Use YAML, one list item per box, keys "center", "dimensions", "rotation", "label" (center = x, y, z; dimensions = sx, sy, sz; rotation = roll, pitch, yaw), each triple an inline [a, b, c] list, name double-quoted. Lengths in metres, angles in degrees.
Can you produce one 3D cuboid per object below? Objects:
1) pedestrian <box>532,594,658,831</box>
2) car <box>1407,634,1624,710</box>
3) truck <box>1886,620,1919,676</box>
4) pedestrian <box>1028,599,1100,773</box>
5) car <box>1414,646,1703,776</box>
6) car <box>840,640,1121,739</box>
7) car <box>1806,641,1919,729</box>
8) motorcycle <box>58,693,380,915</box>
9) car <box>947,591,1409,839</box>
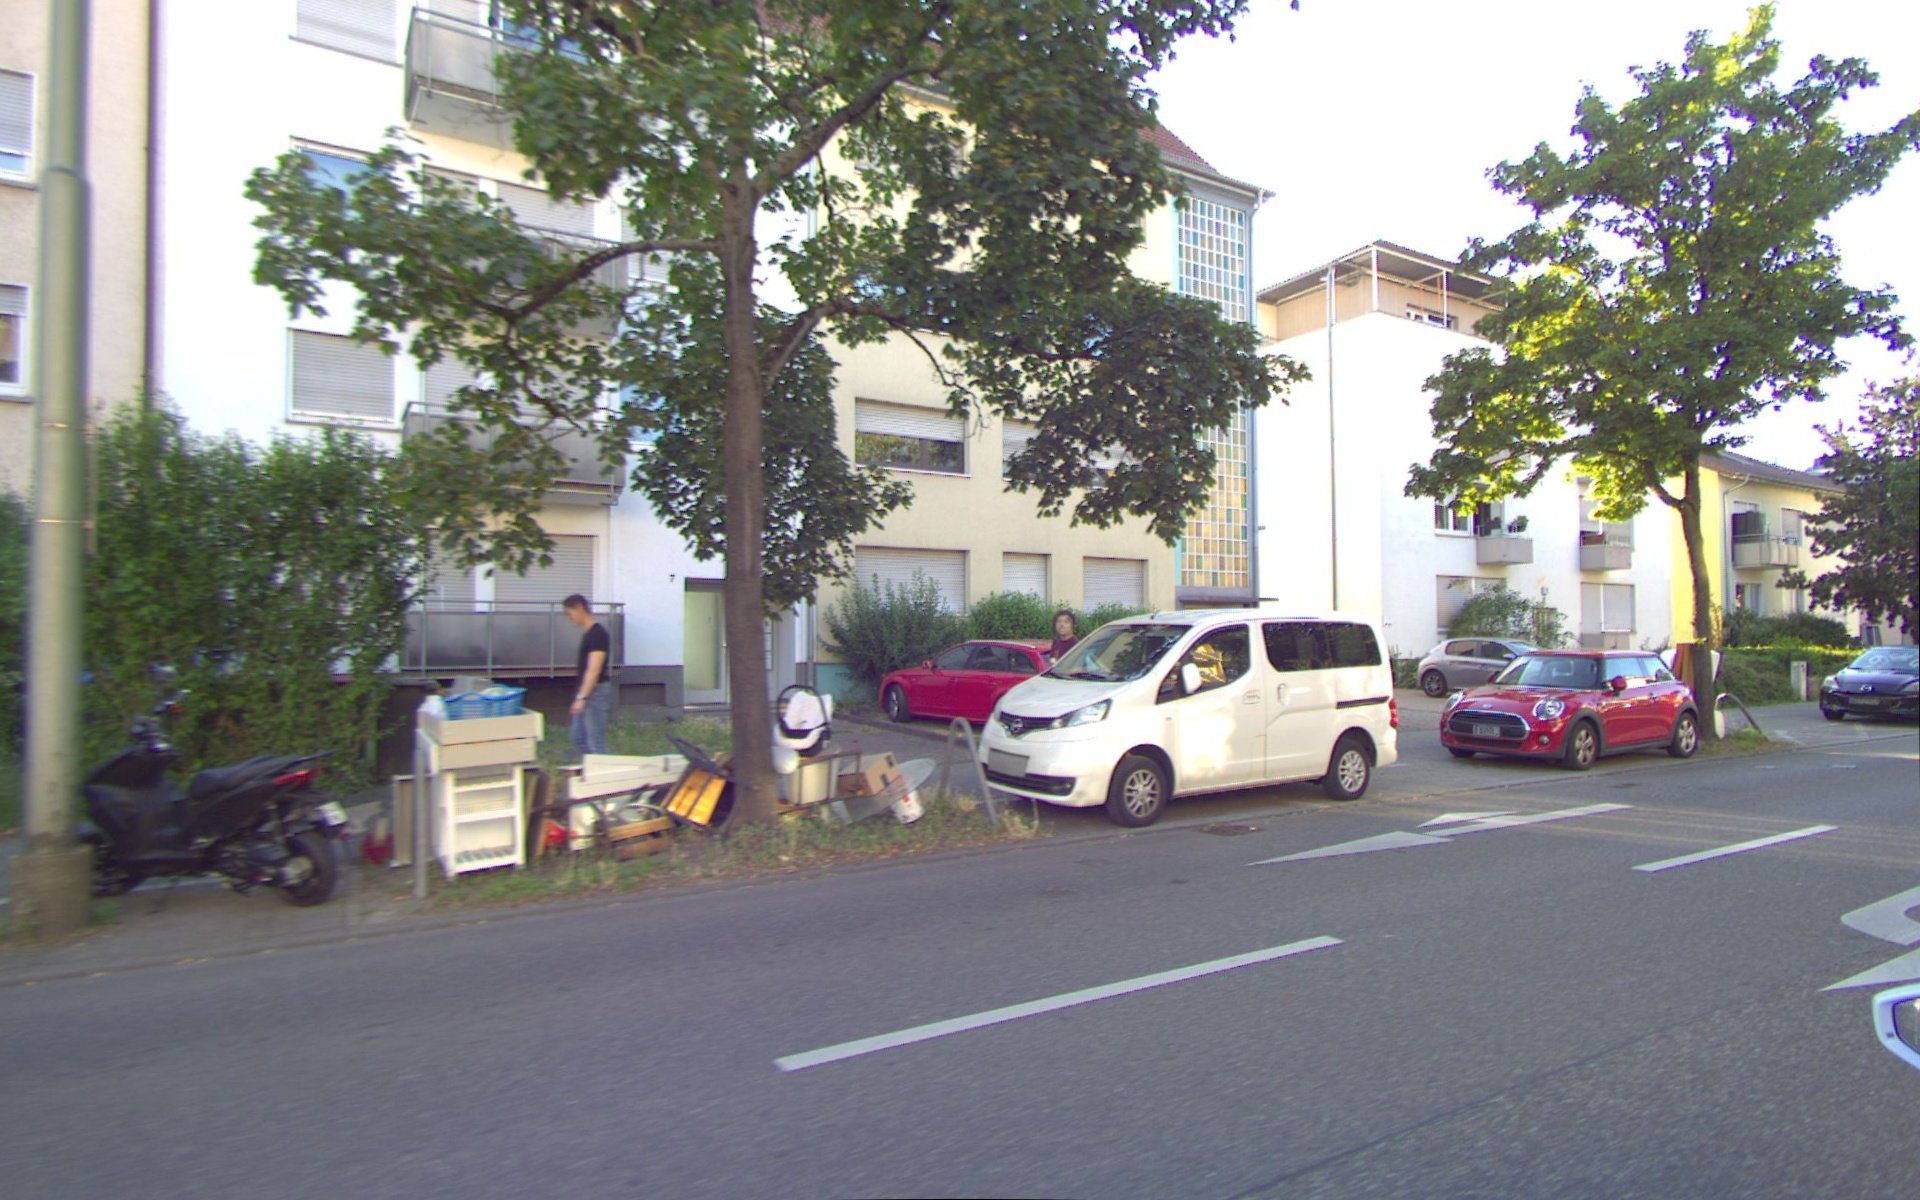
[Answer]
- center: [-3.364, 0.982, 9.249]
  dimensions: [0.965, 2.040, 0.763]
  rotation: [1, -2, -31]
  label: "pedestrian"
- center: [12.683, 1.578, 23.148]
  dimensions: [1.979, 1.498, 3.963]
  rotation: [1, -1, -34]
  label: "car"
- center: [37.227, 1.817, 37.982]
  dimensions: [1.528, 2.121, 2.899]
  rotation: [1, -2, -31]
  label: "truck"
- center: [1.254, 1.016, 12.178]
  dimensions: [0.609, 2.040, 0.623]
  rotation: [1, -2, -31]
  label: "pedestrian"
- center: [7.929, 1.351, 13.263]
  dimensions: [3.742, 1.439, 1.709]
  rotation: [1, -2, -31]
  label: "car"
- center: [0.195, 1.353, 16.570]
  dimensions: [1.986, 1.380, 4.667]
  rotation: [1, -2, -43]
  label: "car"
- center: [18.415, 1.568, 19.545]
  dimensions: [4.198, 1.517, 1.709]
  rotation: [1, -2, -31]
  label: "car"
- center: [-4.361, 1.167, 5.937]
  dimensions: [1.672, 1.207, 0.442]
  rotation: [-1, -2, 7]
  label: "motorcycle"
- center: [2.205, 0.957, 9.790]
  dimensions: [4.408, 1.944, 1.761]
  rotation: [1, -2, -31]
  label: "car"
